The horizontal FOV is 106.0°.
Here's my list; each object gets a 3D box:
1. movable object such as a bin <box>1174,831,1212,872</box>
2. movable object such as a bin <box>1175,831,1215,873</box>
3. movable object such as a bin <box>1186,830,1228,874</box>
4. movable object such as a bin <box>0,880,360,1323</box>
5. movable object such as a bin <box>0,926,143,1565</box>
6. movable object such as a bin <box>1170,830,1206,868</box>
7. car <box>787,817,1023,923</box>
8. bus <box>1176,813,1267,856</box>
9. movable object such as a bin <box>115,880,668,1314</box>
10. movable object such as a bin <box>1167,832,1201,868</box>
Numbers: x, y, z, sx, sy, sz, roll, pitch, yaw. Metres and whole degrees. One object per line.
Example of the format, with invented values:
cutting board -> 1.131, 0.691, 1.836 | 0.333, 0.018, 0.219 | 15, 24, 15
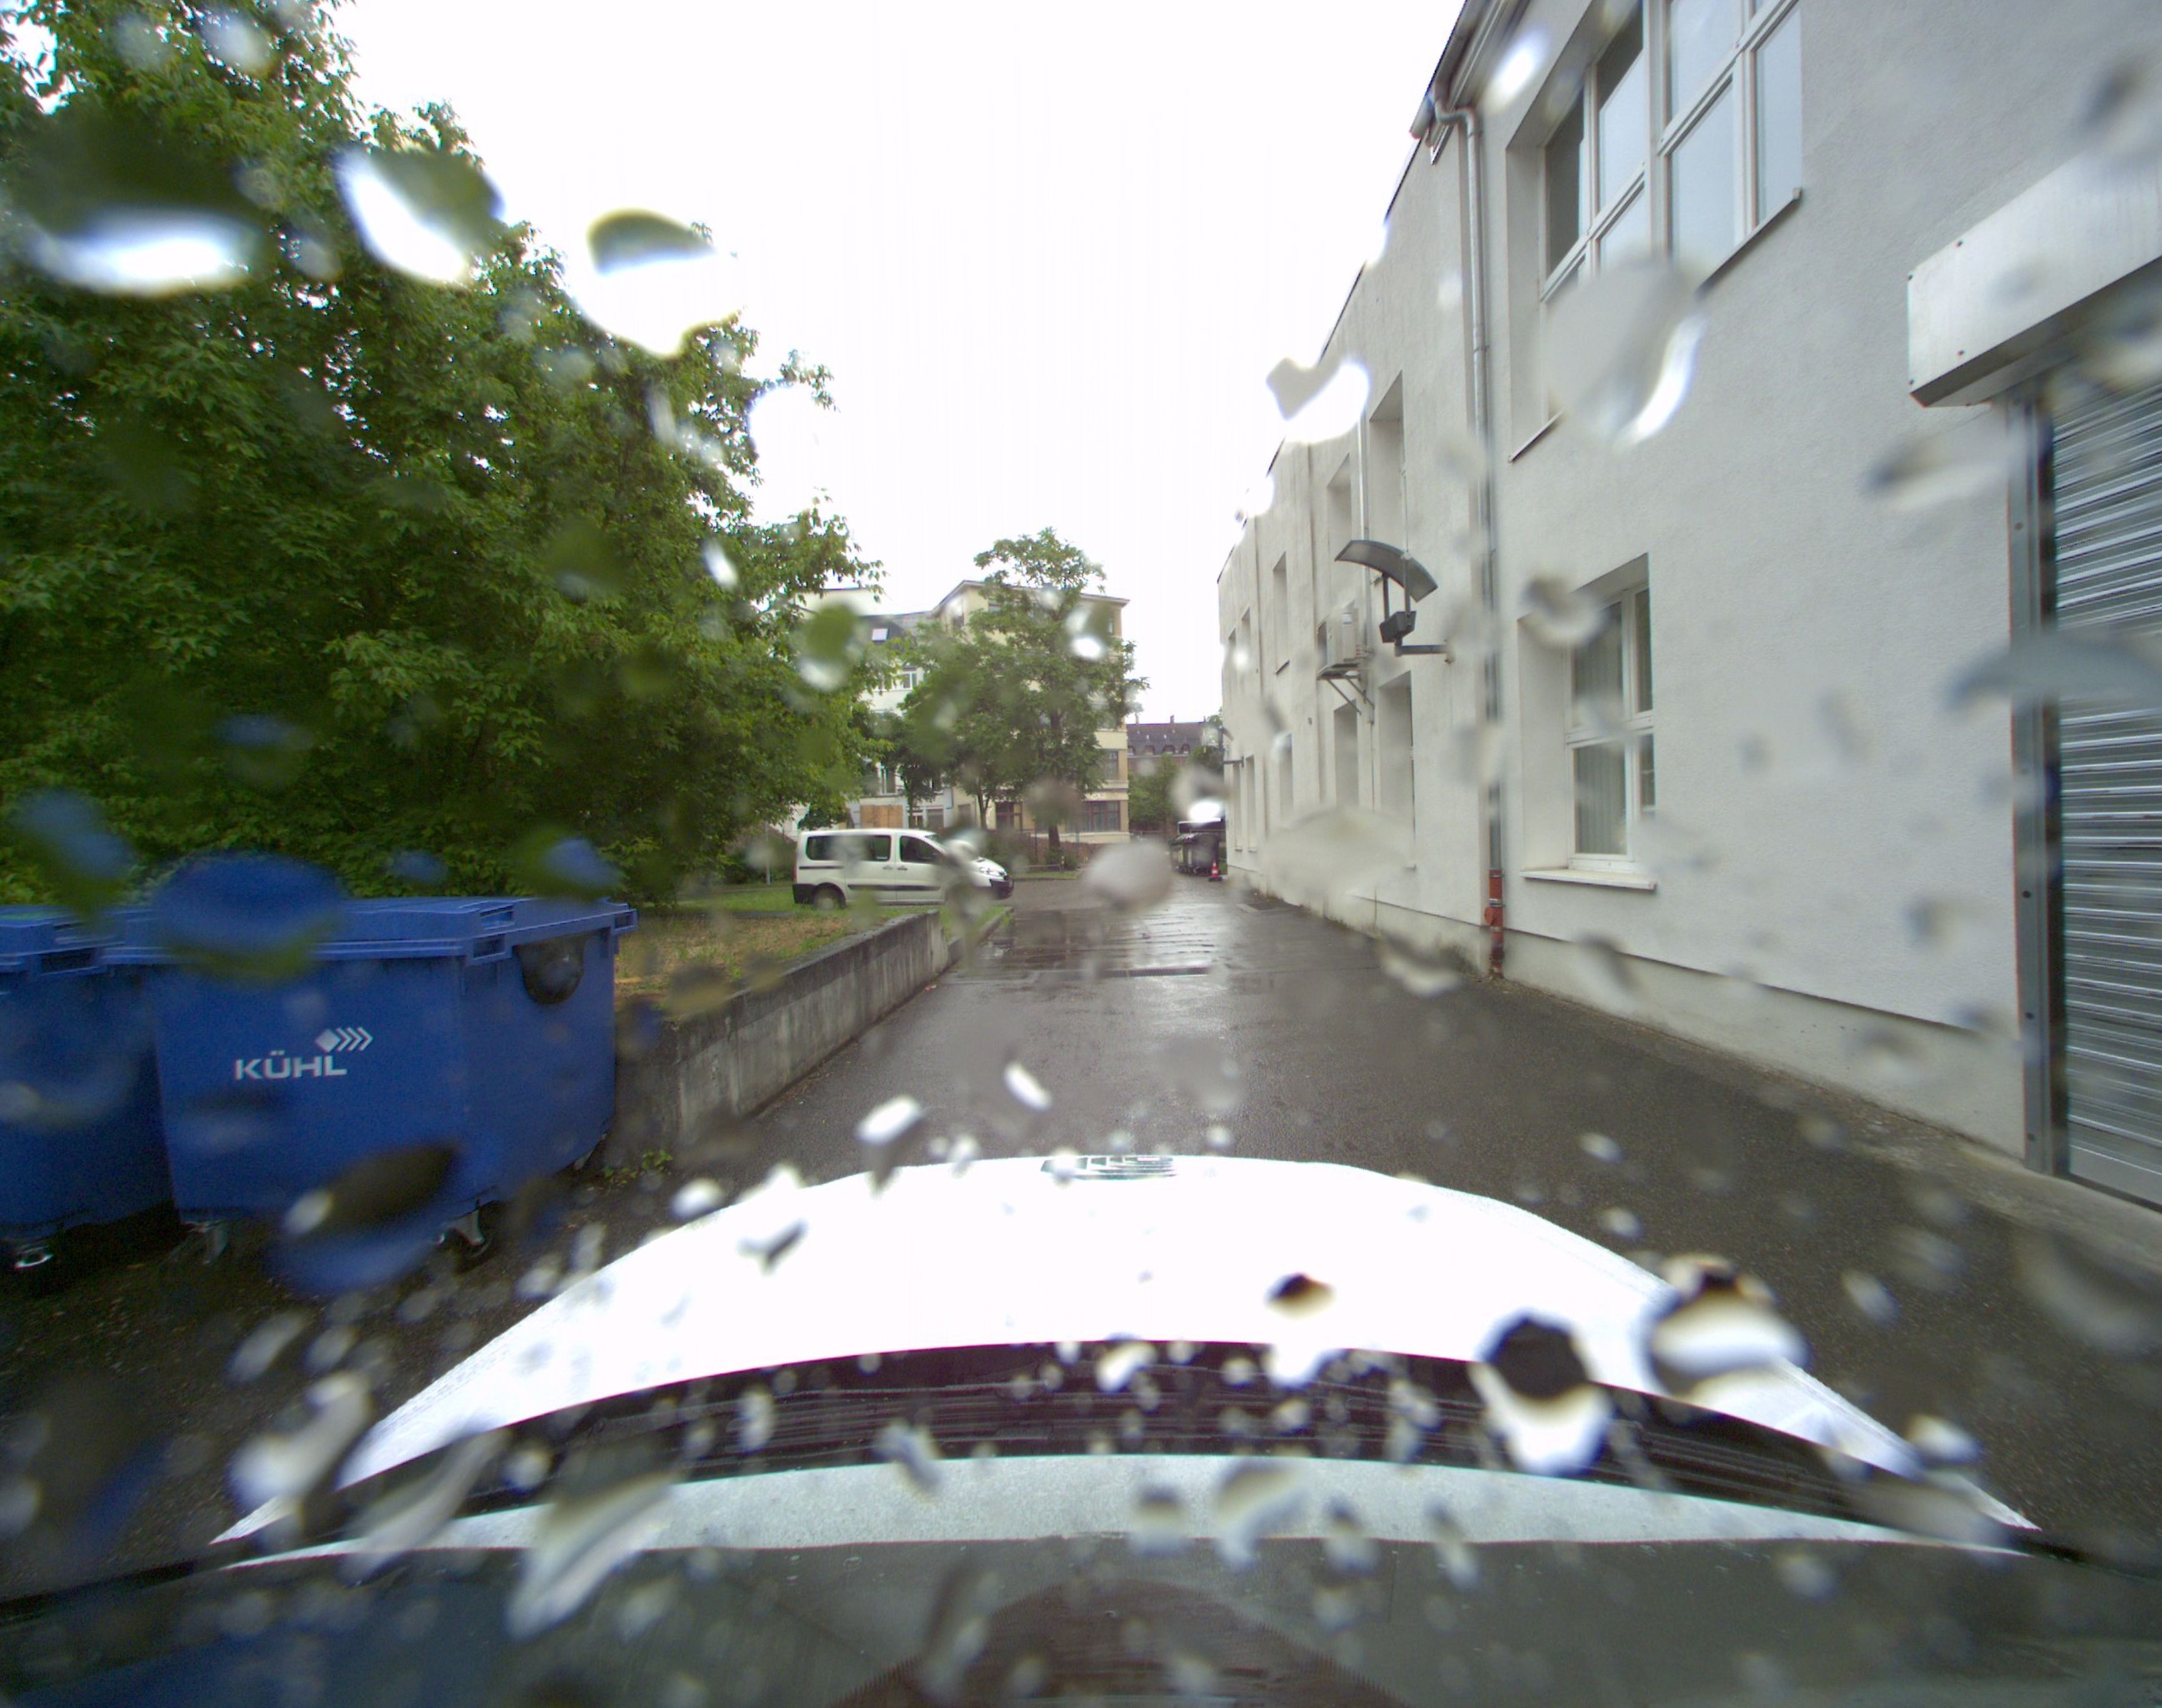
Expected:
movable object such as a bin -> 4.265, -0.078, 31.110 | 1.211, 1.468, 1.235 | -2, -1, 0
movable object such as a bin -> 4.114, -0.057, 29.478 | 1.211, 1.437, 1.294 | -2, -1, 0
movable object such as a bin -> 4.283, -0.051, 27.784 | 1.211, 1.437, 1.235 | -2, -1, 0
movable object such as a bin -> -3.860, 0.832, 3.102 | 1.216, 1.336, 1.007 | -3, 2, 2
movable object such as a bin -> -2.959, 0.878, 1.466 | 1.196, 1.337, 1.119 | -3, 1, 6
movable object such as a bin -> 4.240, -0.180, 32.490 | 1.211, 1.437, 1.259 | -2, -1, 0
car -> -3.880, 0.323, 18.594 | 4.761, 2.013, 2.002 | -3, 2, 2
bus -> 14.750, -1.921, 86.957 | 2.823, 3.873, 11.947 | -2, -1, -28
movable object such as a bin -> -2.533, 0.830, 3.196 | 1.216, 1.337, 1.007 | -3, 2, 2
movable object such as a bin -> 4.260, -0.158, 33.869 | 1.211, 1.437, 1.259 | -2, -1, 0
